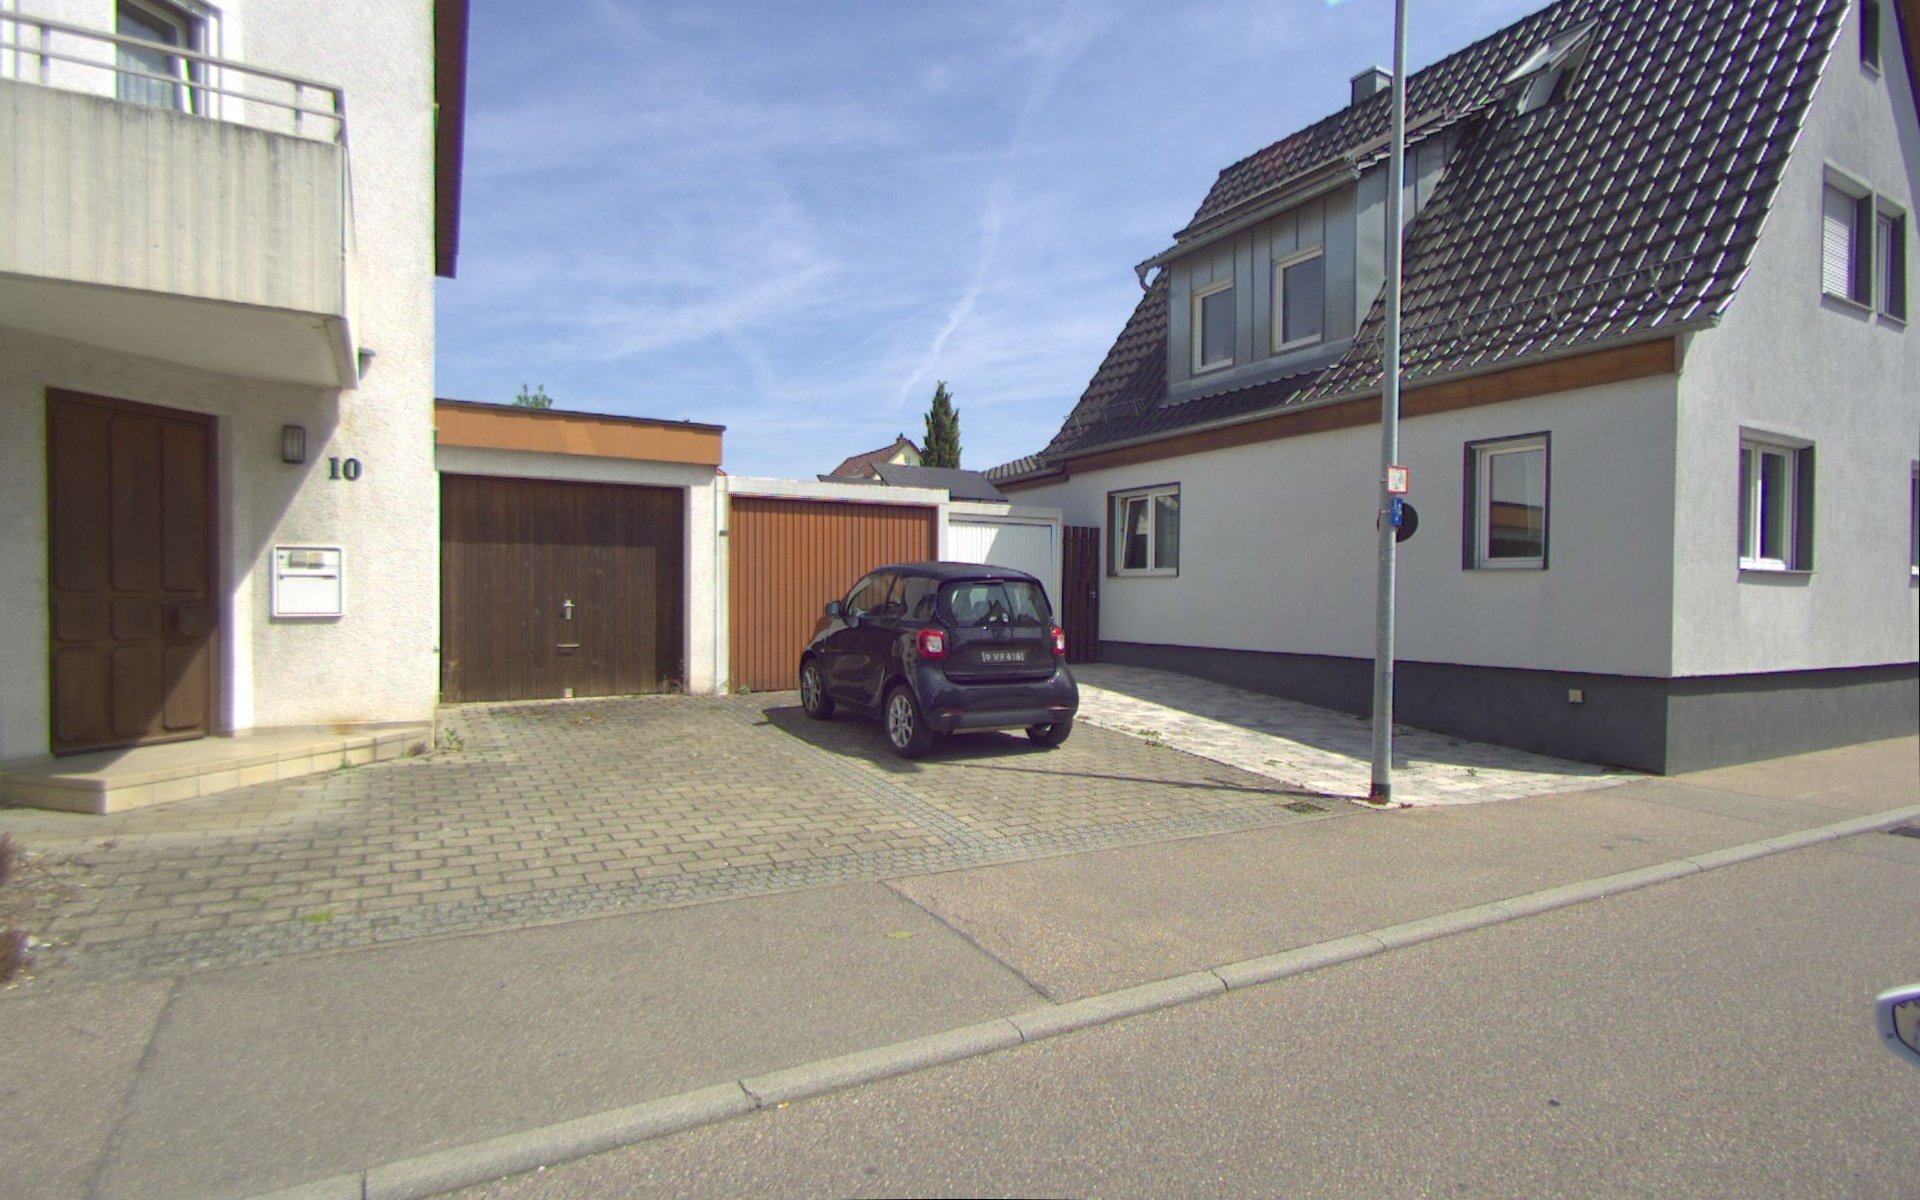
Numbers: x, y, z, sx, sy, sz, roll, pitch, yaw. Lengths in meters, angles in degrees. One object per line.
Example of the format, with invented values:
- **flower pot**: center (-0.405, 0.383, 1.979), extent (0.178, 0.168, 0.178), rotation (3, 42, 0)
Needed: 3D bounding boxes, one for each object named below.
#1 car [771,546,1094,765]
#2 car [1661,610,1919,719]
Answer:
- **car**: center (-0.409, 0.375, 9.467), extent (1.695, 1.598, 3.093), rotation (1, 4, -31)
- **car**: center (13.741, 0.947, 16.057), extent (1.680, 1.501, 3.823), rotation (1, 0, -27)
